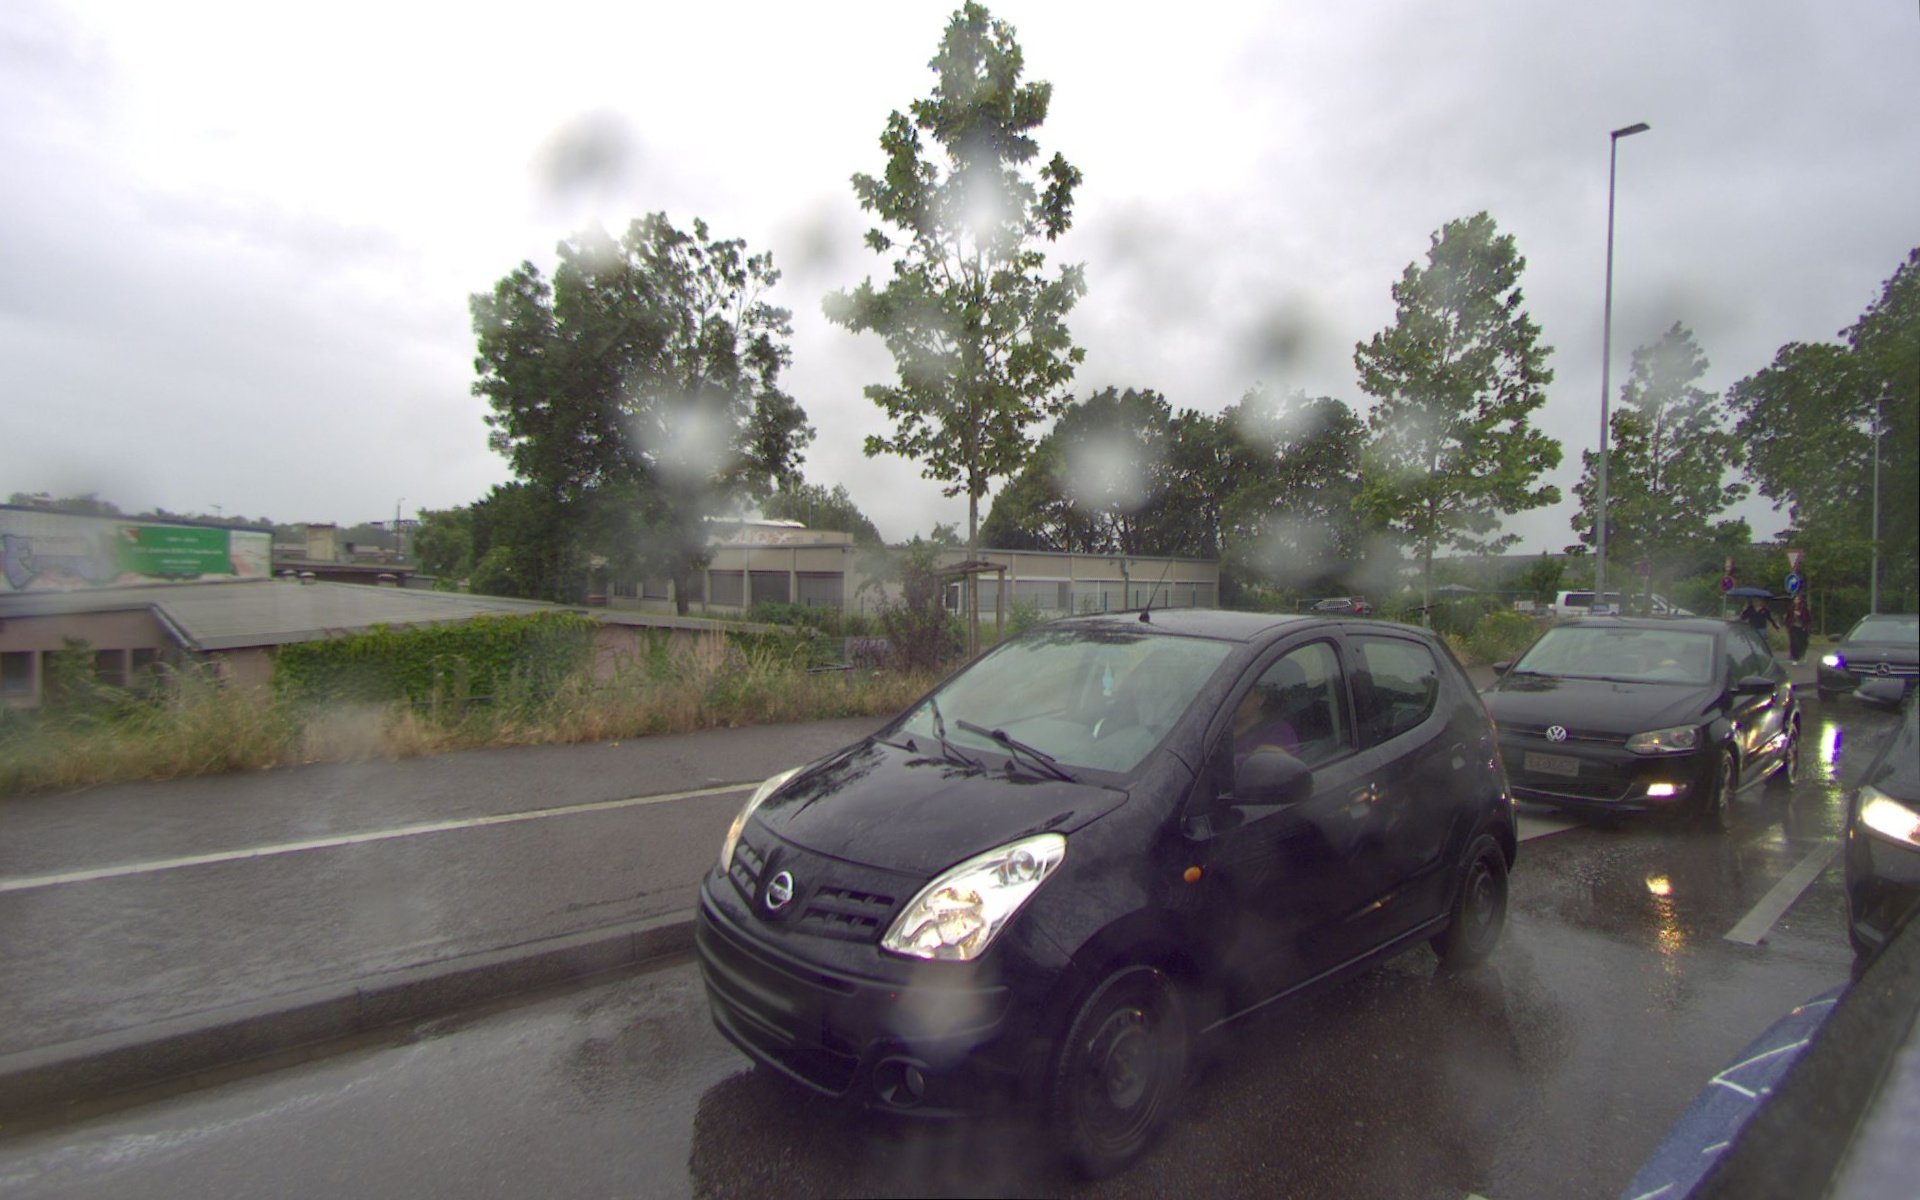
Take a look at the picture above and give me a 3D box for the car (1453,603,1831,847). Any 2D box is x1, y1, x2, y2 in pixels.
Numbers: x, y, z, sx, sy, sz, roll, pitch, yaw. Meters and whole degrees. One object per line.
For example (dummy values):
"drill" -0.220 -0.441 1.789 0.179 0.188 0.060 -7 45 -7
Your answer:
"car" 5.408 0.759 7.863 3.561 1.447 1.631 0 0 -42

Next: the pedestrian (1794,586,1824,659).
"pedestrian" 19.841 0.517 23.649 0.433 1.682 0.400 0 3 -42

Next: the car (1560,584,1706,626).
"car" 28.126 0.179 42.411 1.966 1.670 4.752 -1 1 -42

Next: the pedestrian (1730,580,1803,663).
"pedestrian" 18.197 0.455 22.832 0.953 1.777 1.081 0 3 -42

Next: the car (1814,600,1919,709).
"car" 15.562 0.813 16.691 3.747 1.594 1.697 -1 0 -41

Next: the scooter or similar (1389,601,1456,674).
"scooter or similar" 7.903 0.613 17.243 1.747 1.144 0.380 -1 2 -43

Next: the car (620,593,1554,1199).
"car" 0.757 0.714 3.878 3.561 1.447 1.631 0 0 -42

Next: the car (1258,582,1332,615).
"car" 20.997 -0.103 63.473 1.964 2.039 3.996 0 0 -38

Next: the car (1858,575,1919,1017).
"car" 5.472 0.696 4.505 4.091 1.607 1.688 -1 0 -41

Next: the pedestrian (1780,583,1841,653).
"pedestrian" 21.952 0.445 26.120 0.876 1.729 1.024 0 3 -41
